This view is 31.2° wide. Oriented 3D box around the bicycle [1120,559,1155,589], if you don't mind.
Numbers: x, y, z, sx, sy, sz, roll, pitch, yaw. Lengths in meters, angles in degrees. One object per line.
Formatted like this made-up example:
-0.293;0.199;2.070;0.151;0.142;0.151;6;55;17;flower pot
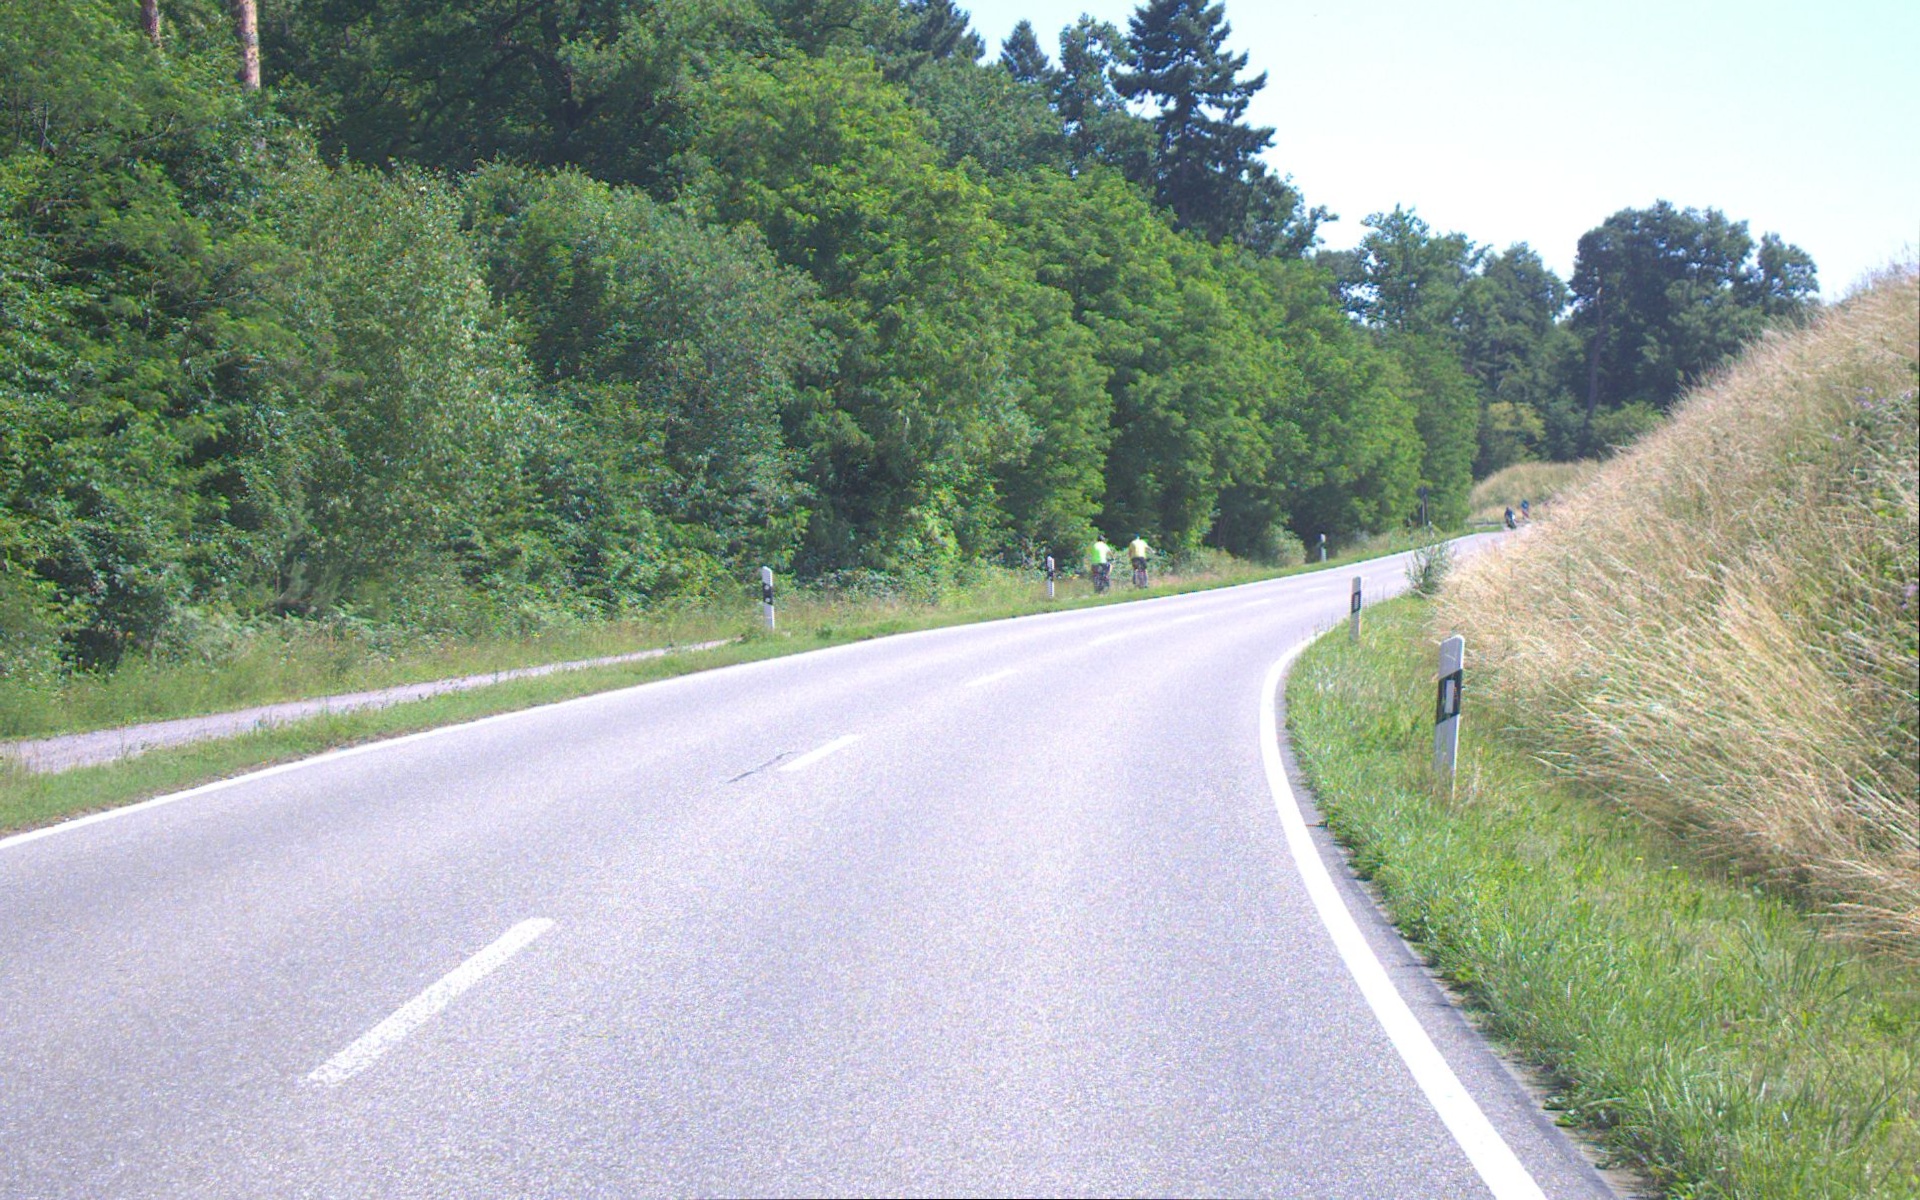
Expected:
4.939;-0.726;95.609;0.640;0.785;2.136;-1;1;12;bicycle

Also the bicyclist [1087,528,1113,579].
3.914;-1.287;96.003;0.605;1.410;0.702;1;0;12;bicyclist

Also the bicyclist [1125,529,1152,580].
4.970;-1.260;95.680;0.605;1.410;0.702;-1;1;12;bicyclist

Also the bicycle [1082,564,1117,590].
3.902;-0.653;95.981;0.619;0.679;2.136;-1;1;12;bicycle
